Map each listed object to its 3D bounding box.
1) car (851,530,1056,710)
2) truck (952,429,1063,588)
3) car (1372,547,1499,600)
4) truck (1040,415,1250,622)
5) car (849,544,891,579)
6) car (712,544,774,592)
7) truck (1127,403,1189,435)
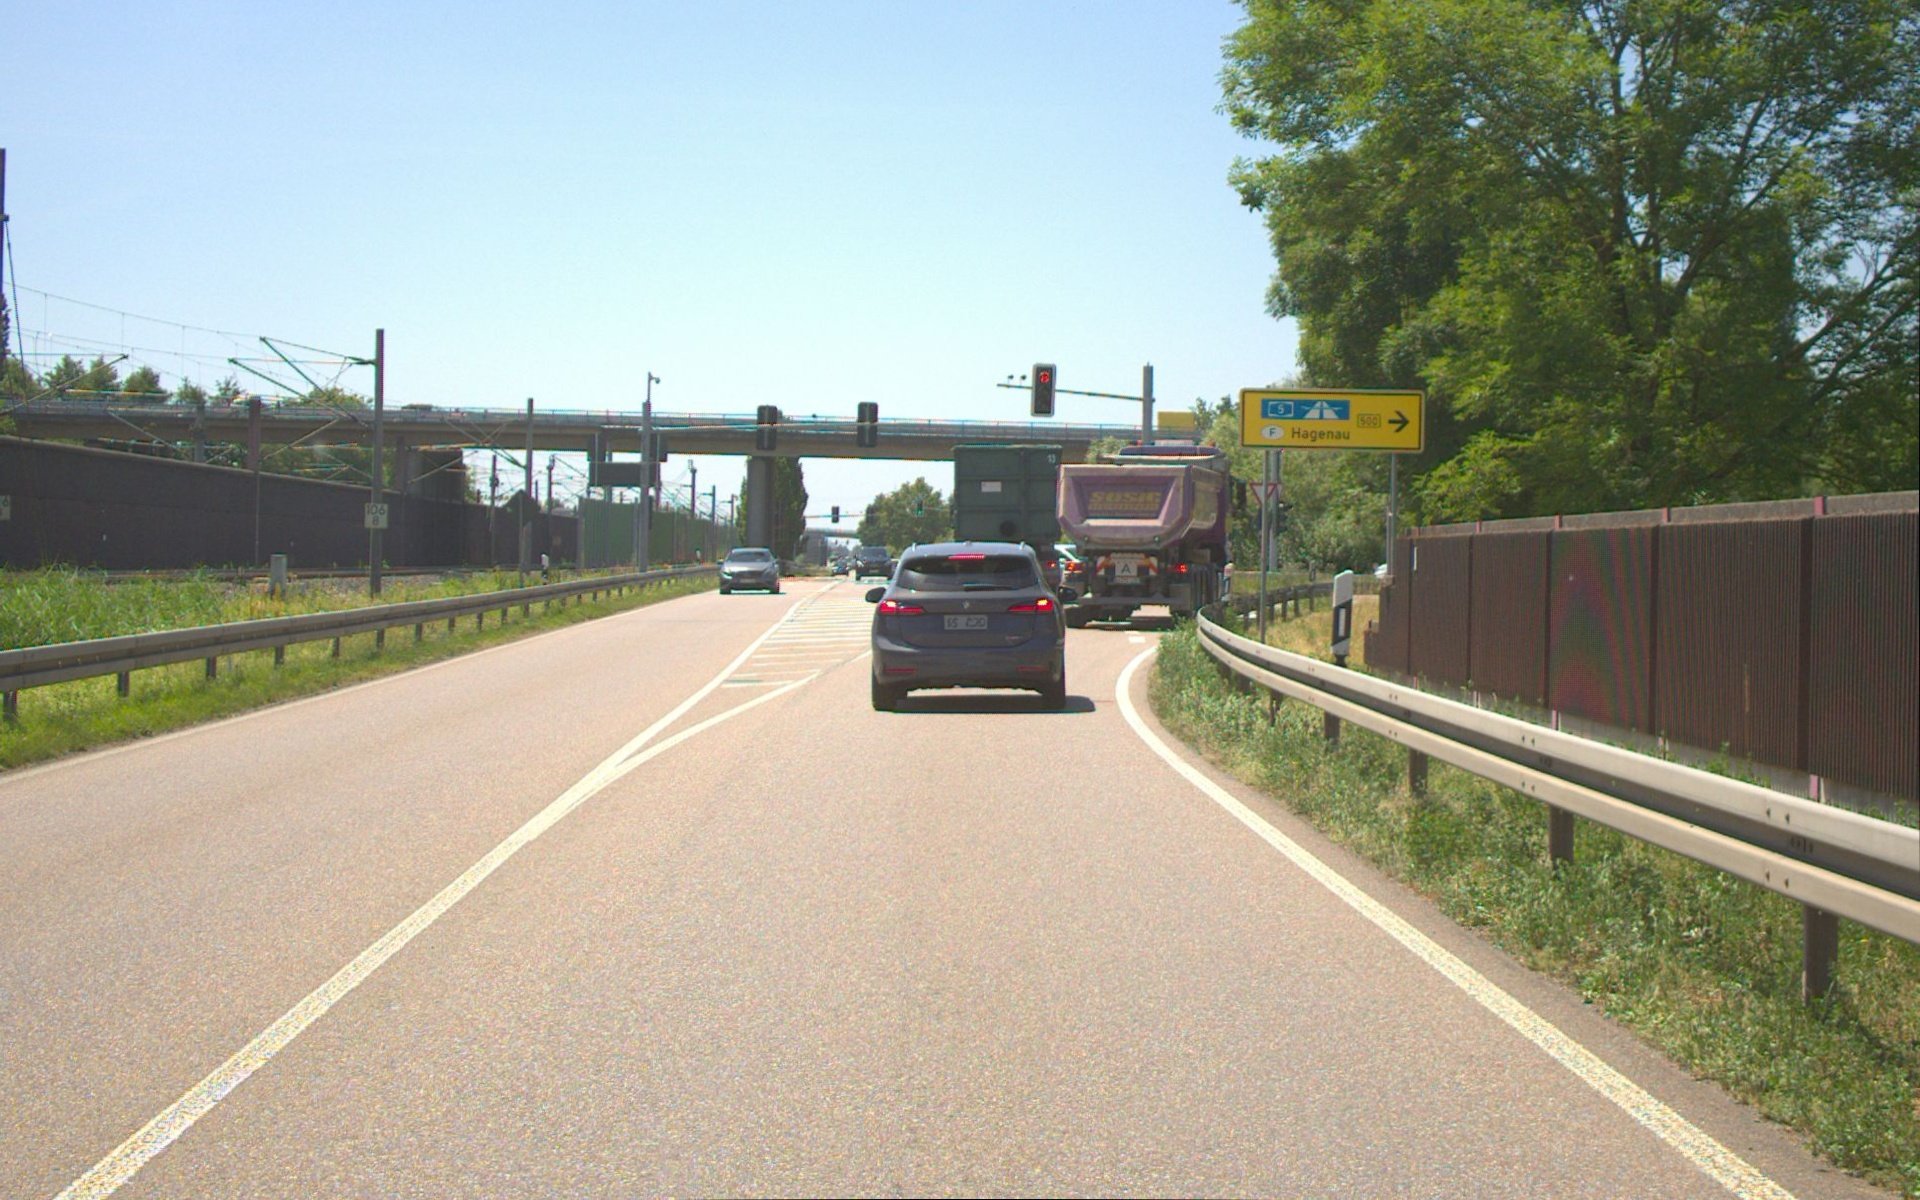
[{"bbox_3d":[-0.040,0.153,33.186,1.845,1.617,4.226,0,1,1],"label":"car"},{"bbox_3d":[1.139,-2.242,85.565,2.589,3.724,9.575,0,1,0],"label":"truck"},{"bbox_3d":[14.898,-0.844,107.810,3.706,1.626,1.734,0,1,0],"label":"car"},{"bbox_3d":[3.902,-1.585,69.388,2.834,3.808,11.880,0,1,10],"label":"truck"},{"bbox_3d":[-4.732,-2.044,181.441,1.927,1.761,4.598,1,1,1],"label":"car"},{"bbox_3d":[-6.851,-1.036,108.705,1.864,1.480,4.888,0,1,-3],"label":"car"},{"bbox_3d":[12.870,-11.774,223.322,3.987,2.007,2.000,0,1,5],"label":"truck"}]
